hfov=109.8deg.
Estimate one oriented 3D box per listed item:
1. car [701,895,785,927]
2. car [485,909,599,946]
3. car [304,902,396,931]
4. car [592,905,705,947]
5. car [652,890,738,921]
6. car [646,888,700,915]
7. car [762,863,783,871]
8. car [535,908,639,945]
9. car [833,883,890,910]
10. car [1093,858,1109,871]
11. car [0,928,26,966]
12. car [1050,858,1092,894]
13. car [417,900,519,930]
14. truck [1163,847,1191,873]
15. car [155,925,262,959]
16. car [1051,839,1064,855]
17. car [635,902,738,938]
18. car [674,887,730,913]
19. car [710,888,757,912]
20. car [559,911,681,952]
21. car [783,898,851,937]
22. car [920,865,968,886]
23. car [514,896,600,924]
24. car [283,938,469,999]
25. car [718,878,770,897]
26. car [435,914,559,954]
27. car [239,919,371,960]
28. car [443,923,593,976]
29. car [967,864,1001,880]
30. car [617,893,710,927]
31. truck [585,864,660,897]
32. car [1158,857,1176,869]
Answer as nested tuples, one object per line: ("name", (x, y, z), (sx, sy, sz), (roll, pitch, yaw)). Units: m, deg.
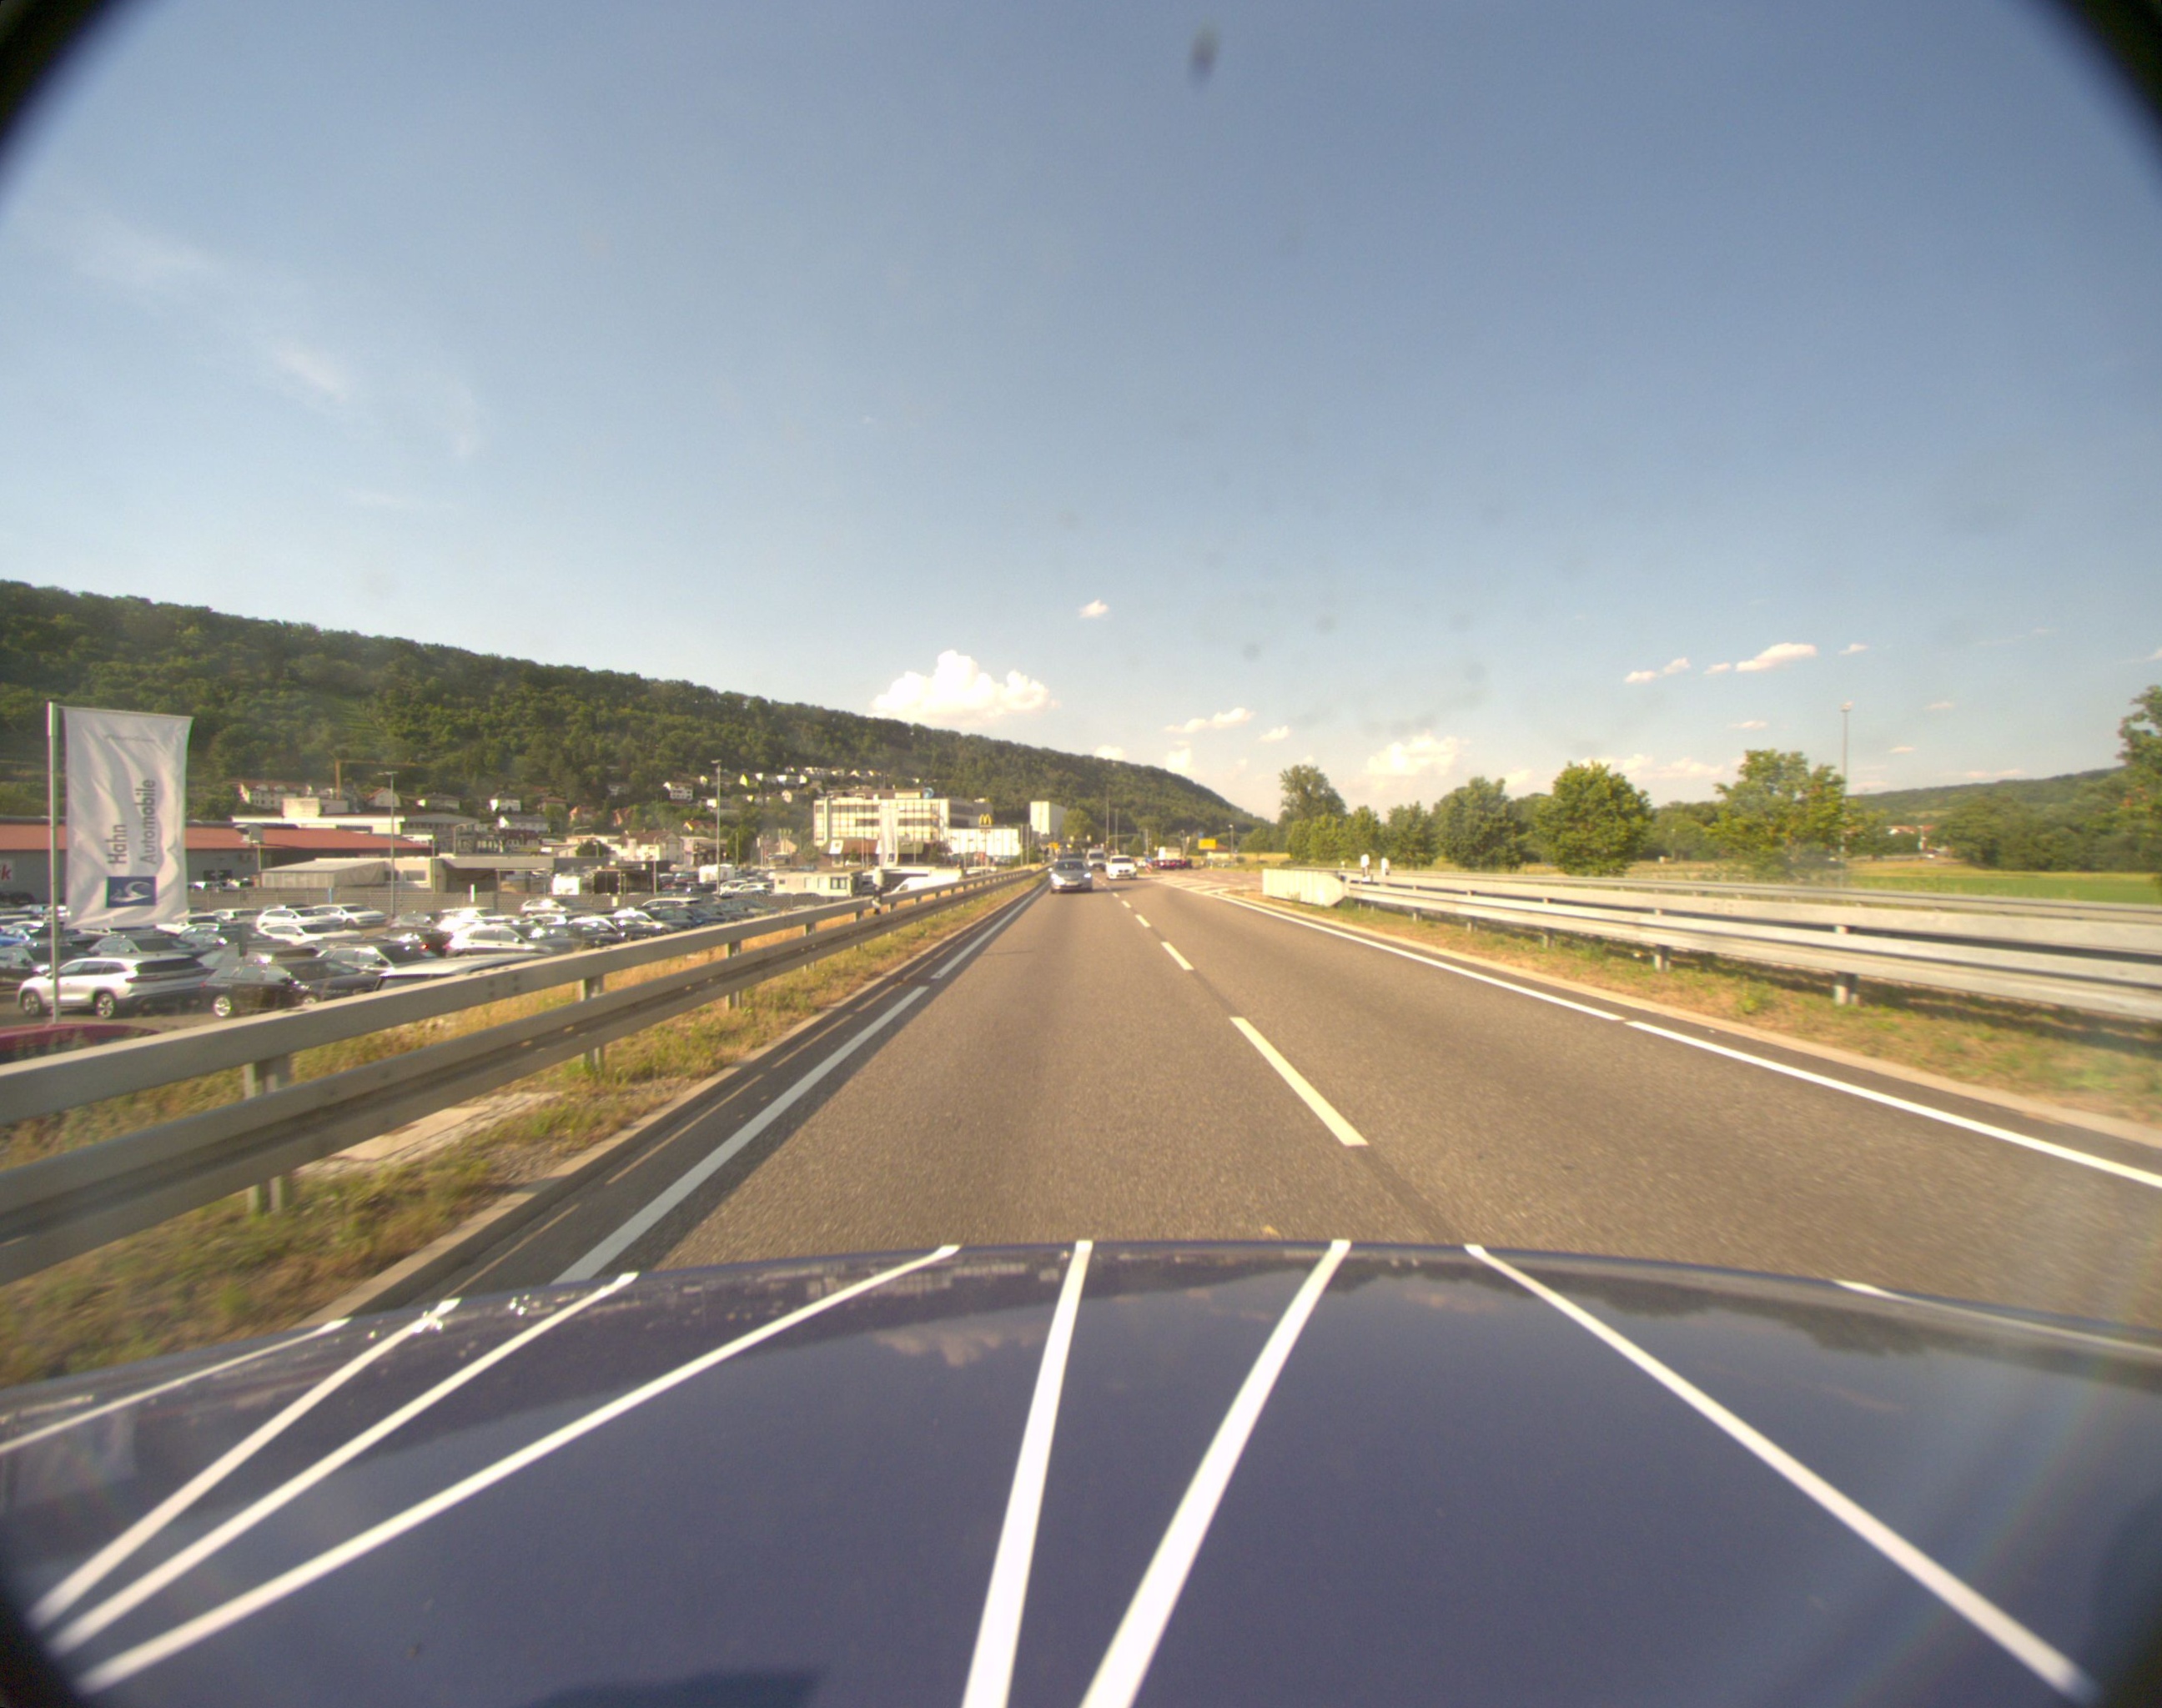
("car", (-19.291, 3.248, 43.477), (3.981, 1.534, 1.788), (-2, 1, 4))
("car", (-26.201, 3.564, 37.011), (4.426, 1.534, 1.801), (-2, 1, 8))
("car", (-45.500, 3.899, 47.340), (4.339, 1.534, 1.801), (-2, 1, 8))
("car", (-20.618, 3.429, 36.270), (4.426, 1.704, 1.801), (-2, 1, 8))
("car", (-23.824, 3.184, 46.927), (4.426, 1.704, 1.801), (-1, 1, 8))
("car", (-30.783, 3.531, 57.437), (1.600, 1.691, 3.892), (-2, 1, 7))
("car", (-64.285, 2.710, 158.579), (3.649, 1.412, 1.690), (-2, 1, 6))
("car", (-25.897, 3.787, 39.886), (4.426, 1.704, 1.801), (-2, 1, 8))
("car", (-18.993, 3.614, 65.857), (4.576, 2.002, 1.898), (-2, 1, -19))
("car", (2.172, 1.139, 84.150), (1.690, 1.383, 3.883), (-1, 1, 1))
("car", (-48.203, 4.056, 32.589), (4.338, 1.534, 1.802), (-2, 1, 12))
("car", (-0.373, 0.908, 32.845), (1.690, 1.383, 3.883), (-1, 1, 1))
("car", (-33.978, 3.371, 42.185), (4.426, 1.361, 1.801), (-2, 1, 8))
("truck", (14.529, 0.754, 115.506), (2.940, 3.669, 10.498), (2, 1, 1))
("car", (-46.279, 4.649, 40.322), (4.338, 1.534, 1.802), (-2, 1, 12))
("car", (-3.204, -0.919, 103.136), (1.795, 2.155, 4.588), (0, 1, -2))
("car", (-20.153, 3.363, 38.885), (4.426, 1.534, 1.801), (-2, 1, 8))
("car", (-28.325, 3.380, 56.929), (1.600, 1.585, 4.287), (-2, 1, 7))
("car", (-28.081, 3.694, 61.496), (1.600, 1.555, 3.892), (-2, 1, 7))
("car", (-20.480, 3.435, 33.830), (4.426, 1.534, 1.801), (-2, 1, 8))
("car", (-13.636, 3.258, 39.549), (1.799, 1.534, 4.433), (-2, 1, 2))
("car", (-12.526, 1.975, 69.728), (3.996, 1.740, 1.902), (-2, 1, 2))
("car", (-33.594, 3.577, 48.781), (4.426, 1.534, 1.801), (-2, 1, 8))
("car", (-21.776, 3.533, 23.535), (4.426, 1.597, 1.802), (-2, -1, 8))
("car", (-31.439, 3.121, 70.913), (3.996, 1.648, 1.805), (0, 1, 4))
("car", (-26.305, 3.594, 34.309), (4.426, 1.534, 1.801), (-2, 1, 8))
("car", (-34.700, 3.832, 34.015), (4.426, 1.534, 1.801), (-2, 1, 8))
("car", (-21.021, 3.541, 28.434), (4.426, 1.657, 1.842), (-2, 1, 8))
("car", (-12.114, 2.214, 95.100), (3.996, 1.805, 1.835), (-2, 1, 2))
("car", (-24.151, 3.245, 44.019), (4.426, 1.704, 1.801), (-2, 1, 8))
("truck", (-36.889, 2.075, 61.351), (1.998, 2.357, 5.971), (-2, 1, 4))
("car", (10.956, 1.189, 97.138), (1.719, 1.455, 4.726), (2, -1, 0))
